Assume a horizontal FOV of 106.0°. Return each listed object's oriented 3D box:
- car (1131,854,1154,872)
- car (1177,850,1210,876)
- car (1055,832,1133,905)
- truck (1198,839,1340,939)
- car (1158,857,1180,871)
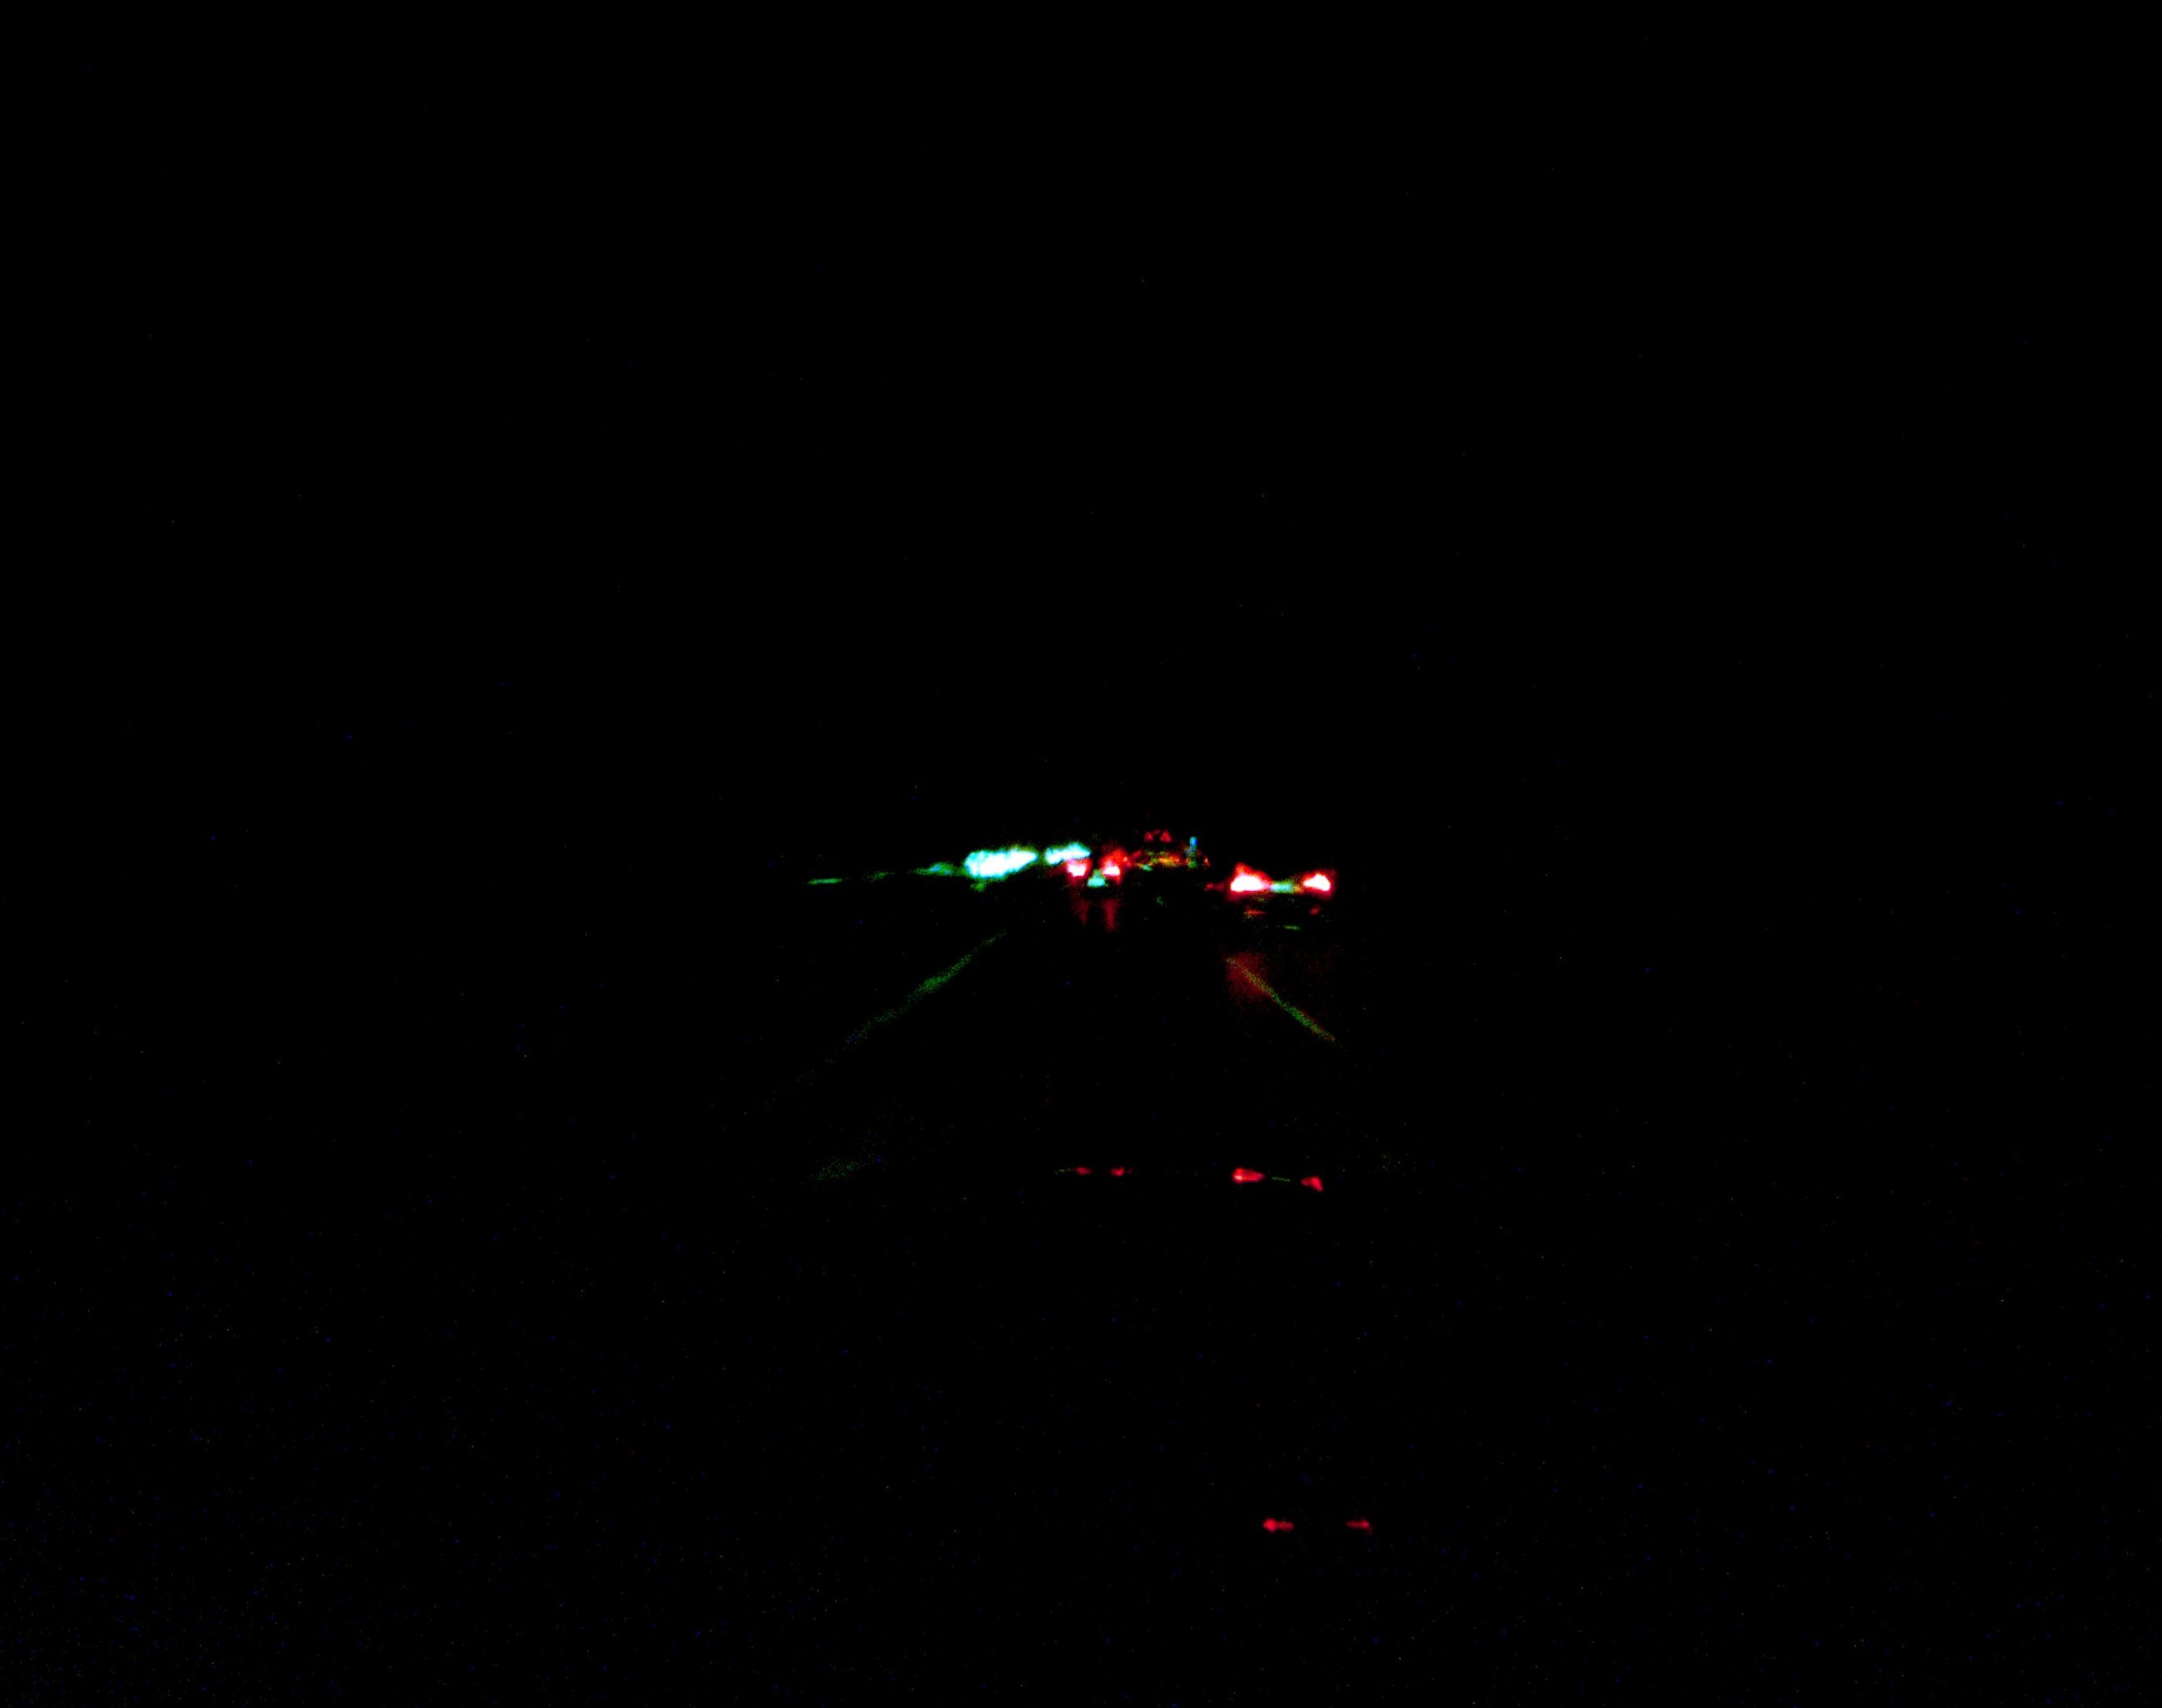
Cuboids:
[{"bbox_3d":[5.168,0.757,68.948,1.607,1.412,3.791,-1,0,0],"label":"car"},{"bbox_3d":[9.254,0.688,67.396,2.038,1.974,5.410,-3,0,2],"label":"car"},{"bbox_3d":[0.459,0.516,32.816,2.701,2.534,5.829,-3,0,-1],"label":"car"},{"bbox_3d":[3.570,0.613,16.384,1.837,1.696,4.856,-1,0,1],"label":"truck"},{"bbox_3d":[9.684,1.081,89.943,1.888,1.486,4.961,-1,0,0],"label":"car"}]
